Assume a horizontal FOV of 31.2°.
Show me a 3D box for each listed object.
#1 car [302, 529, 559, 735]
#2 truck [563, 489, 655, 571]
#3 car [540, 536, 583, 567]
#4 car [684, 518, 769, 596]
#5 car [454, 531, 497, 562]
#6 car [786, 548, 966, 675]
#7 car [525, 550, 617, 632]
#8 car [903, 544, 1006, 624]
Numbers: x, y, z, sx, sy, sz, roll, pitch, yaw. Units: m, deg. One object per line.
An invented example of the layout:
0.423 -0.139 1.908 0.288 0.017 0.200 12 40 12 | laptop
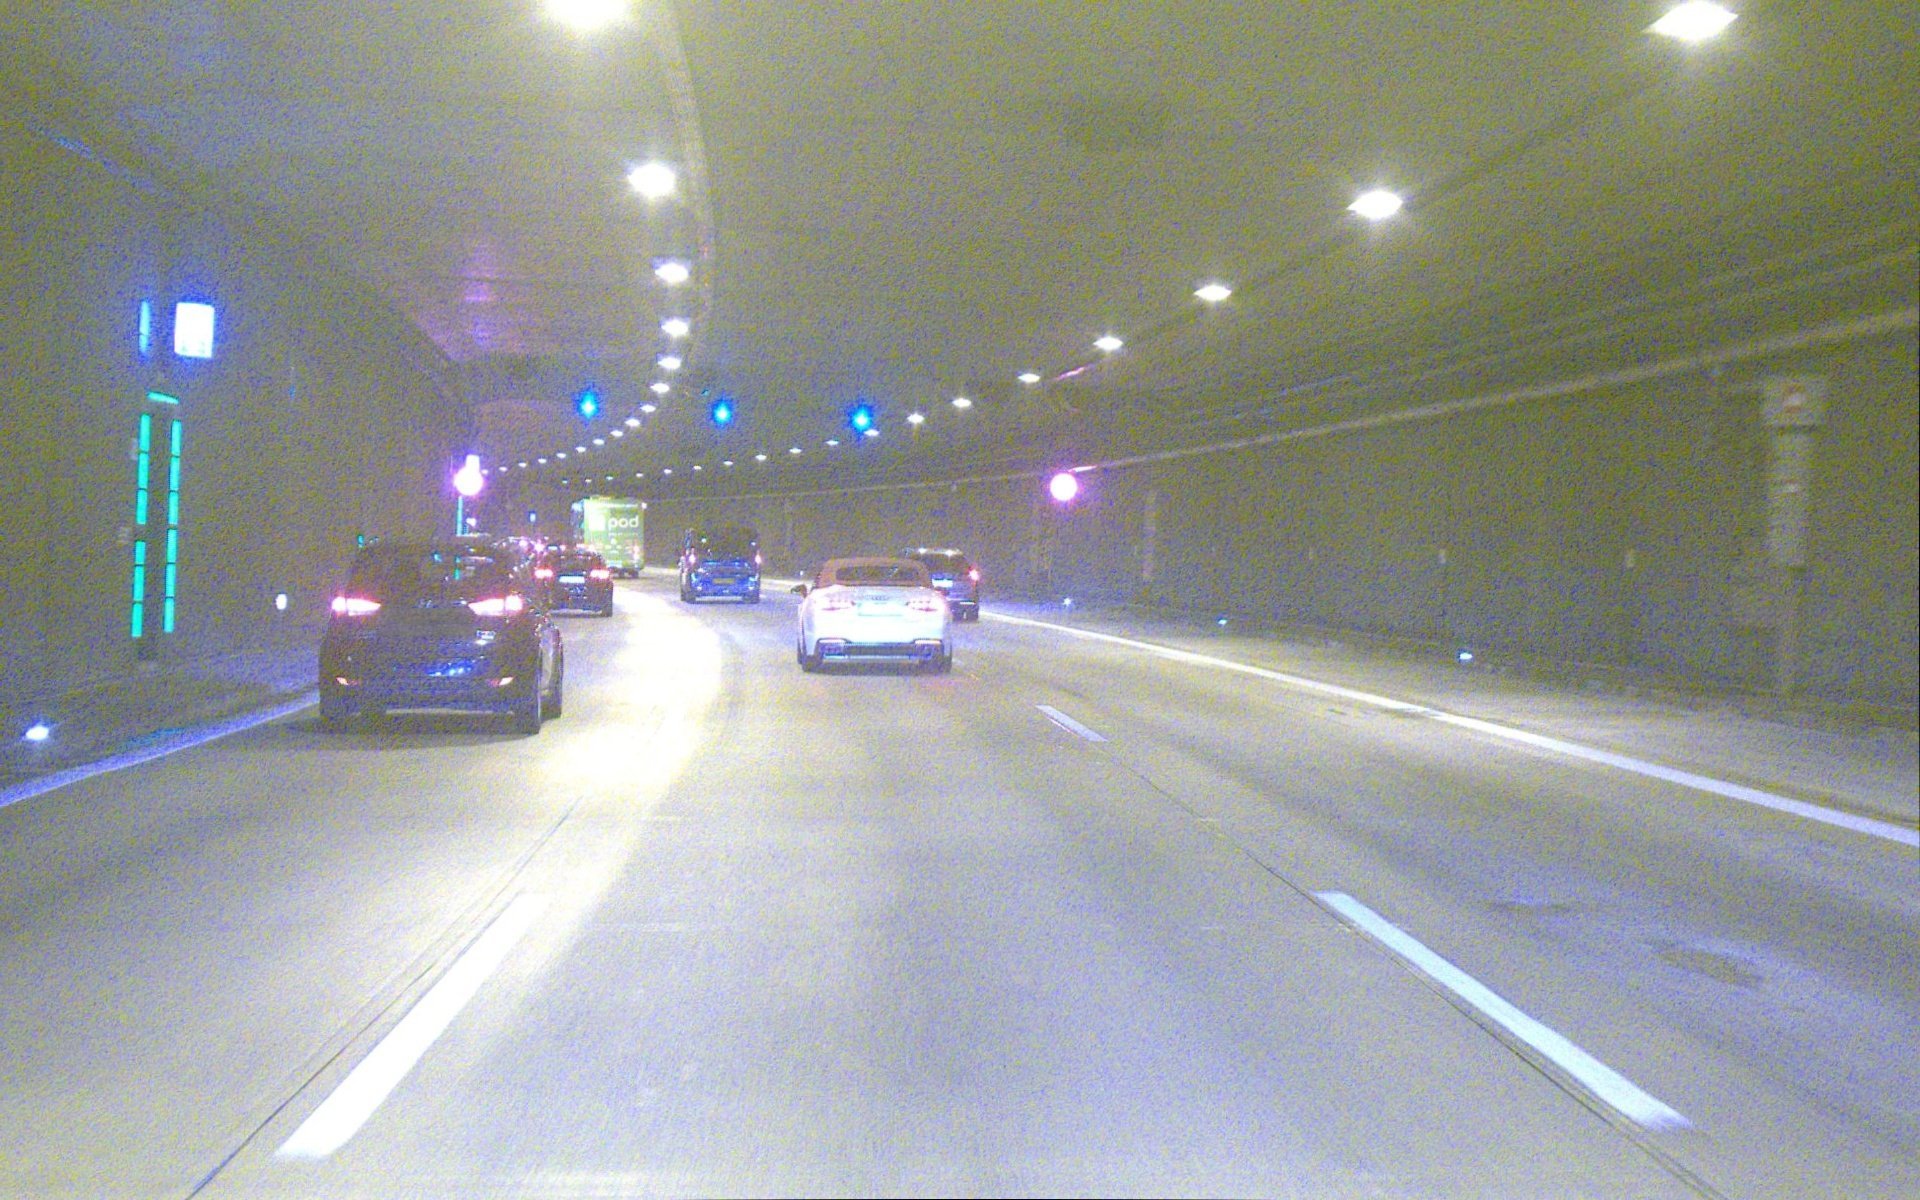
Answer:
-4.347 0.220 28.696 1.785 1.593 3.802 1 1 -4 | car
-14.253 -2.879 138.864 3.082 3.102 10.032 1 2 -9 | truck
-23.561 -2.860 203.372 1.993 1.748 4.001 1 0 -14 | car
-6.032 -1.111 88.555 1.993 1.965 4.001 0 1 -6 | car
-24.554 -2.690 174.146 1.993 1.525 4.001 1 0 -10 | car
-1.092 0.107 42.633 1.993 1.478 4.001 1 1 -5 | car
-8.263 -0.217 72.833 1.800 1.678 4.001 1 1 -8 | car
-0.144 -0.352 71.126 1.839 1.597 4.001 1 1 -4 | car
